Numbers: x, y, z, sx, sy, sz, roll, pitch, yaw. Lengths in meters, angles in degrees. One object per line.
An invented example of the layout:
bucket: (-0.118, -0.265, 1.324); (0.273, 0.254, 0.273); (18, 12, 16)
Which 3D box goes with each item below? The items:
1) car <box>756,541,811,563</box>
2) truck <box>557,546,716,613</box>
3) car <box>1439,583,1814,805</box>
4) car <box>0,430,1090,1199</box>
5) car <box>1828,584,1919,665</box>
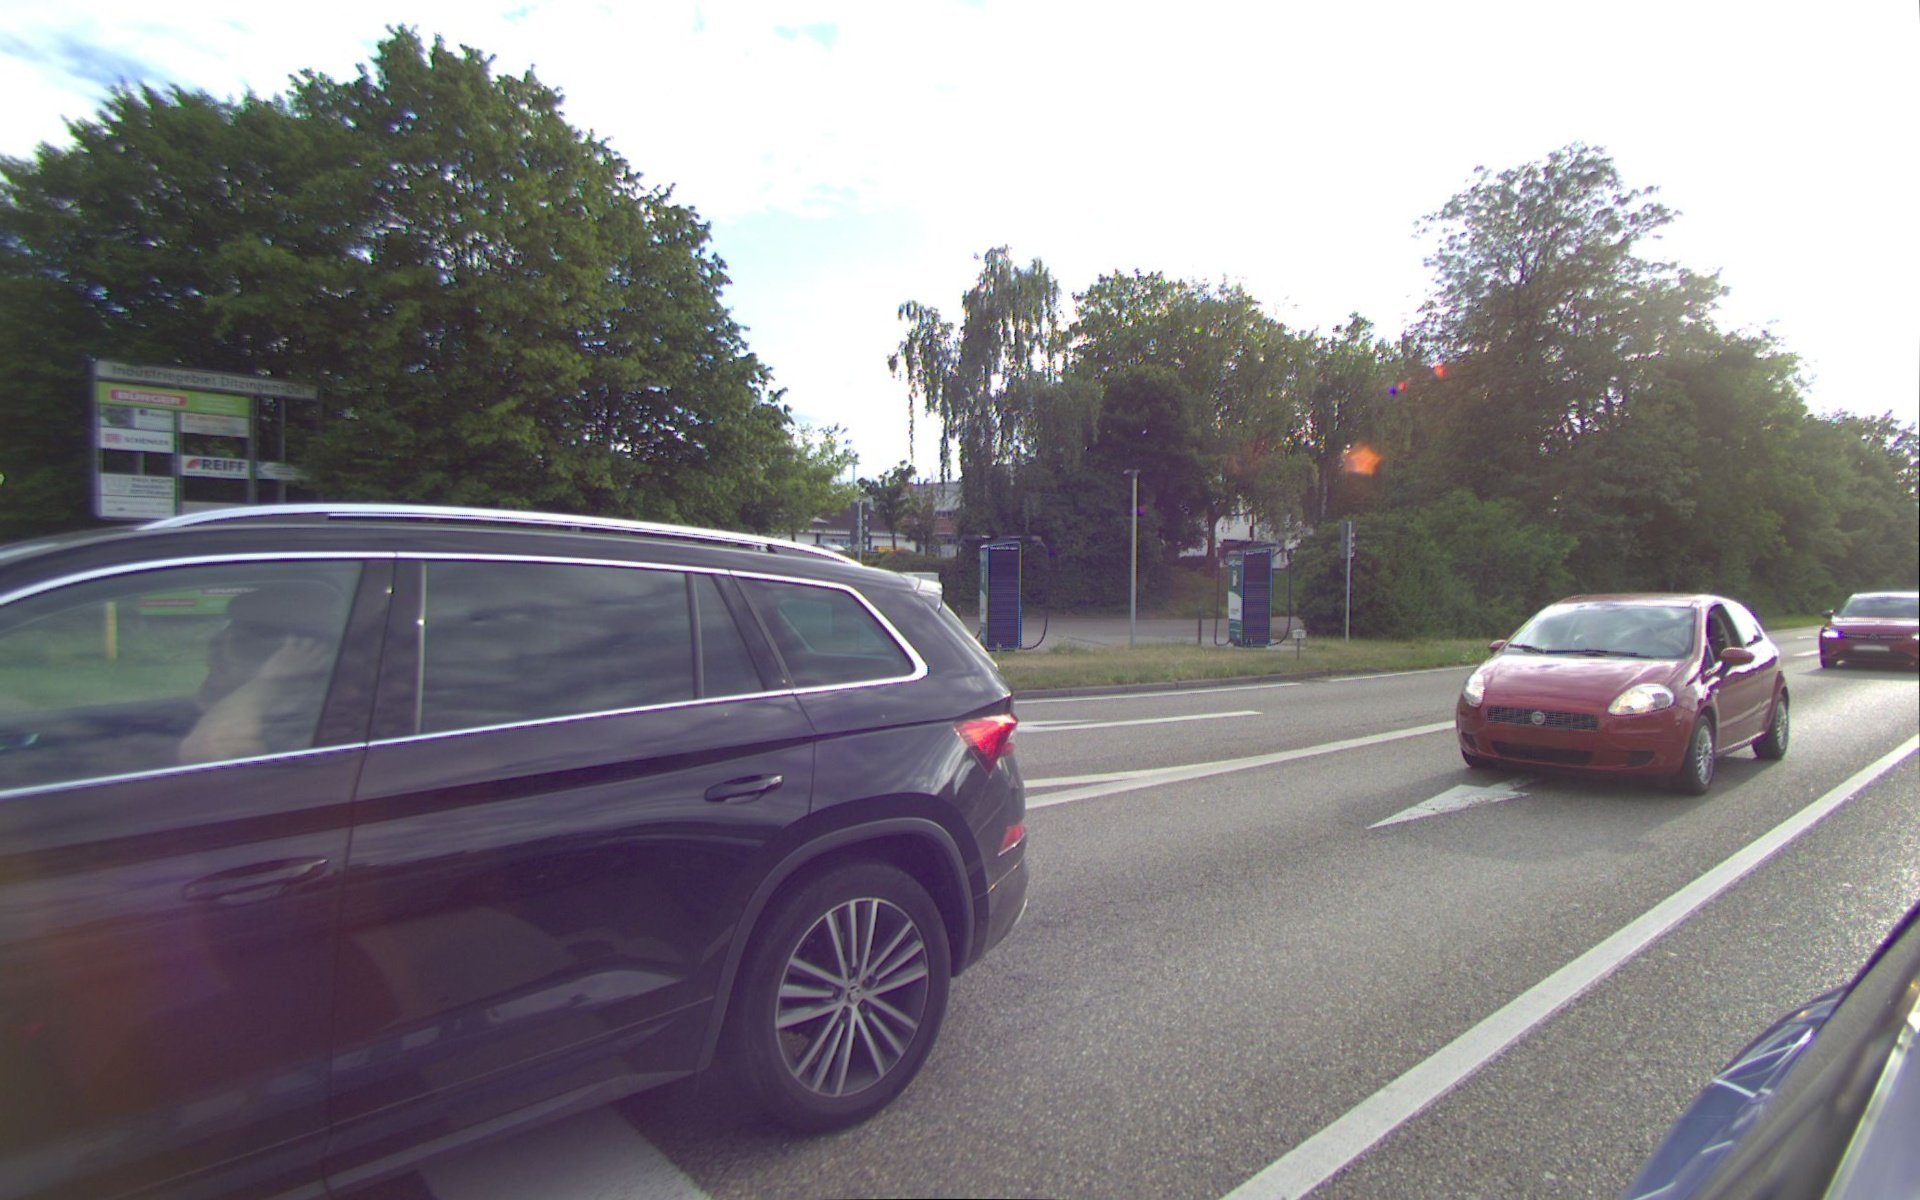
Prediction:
car: (-12.544, -3.368, 71.948); (1.967, 1.382, 3.989); (-1, 1, -44)
truck: (-10.273, -0.620, 32.222); (4.602, 2.022, 1.815); (0, 0, 15)
car: (5.758, 0.592, 8.559); (3.925, 1.450, 1.665); (-1, 1, -41)
car: (-1.843, 0.568, 2.533); (4.403, 1.671, 1.847); (-1, 0, -41)
car: (18.210, 0.412, 19.520); (3.931, 1.433, 1.699); (-1, 0, -41)
